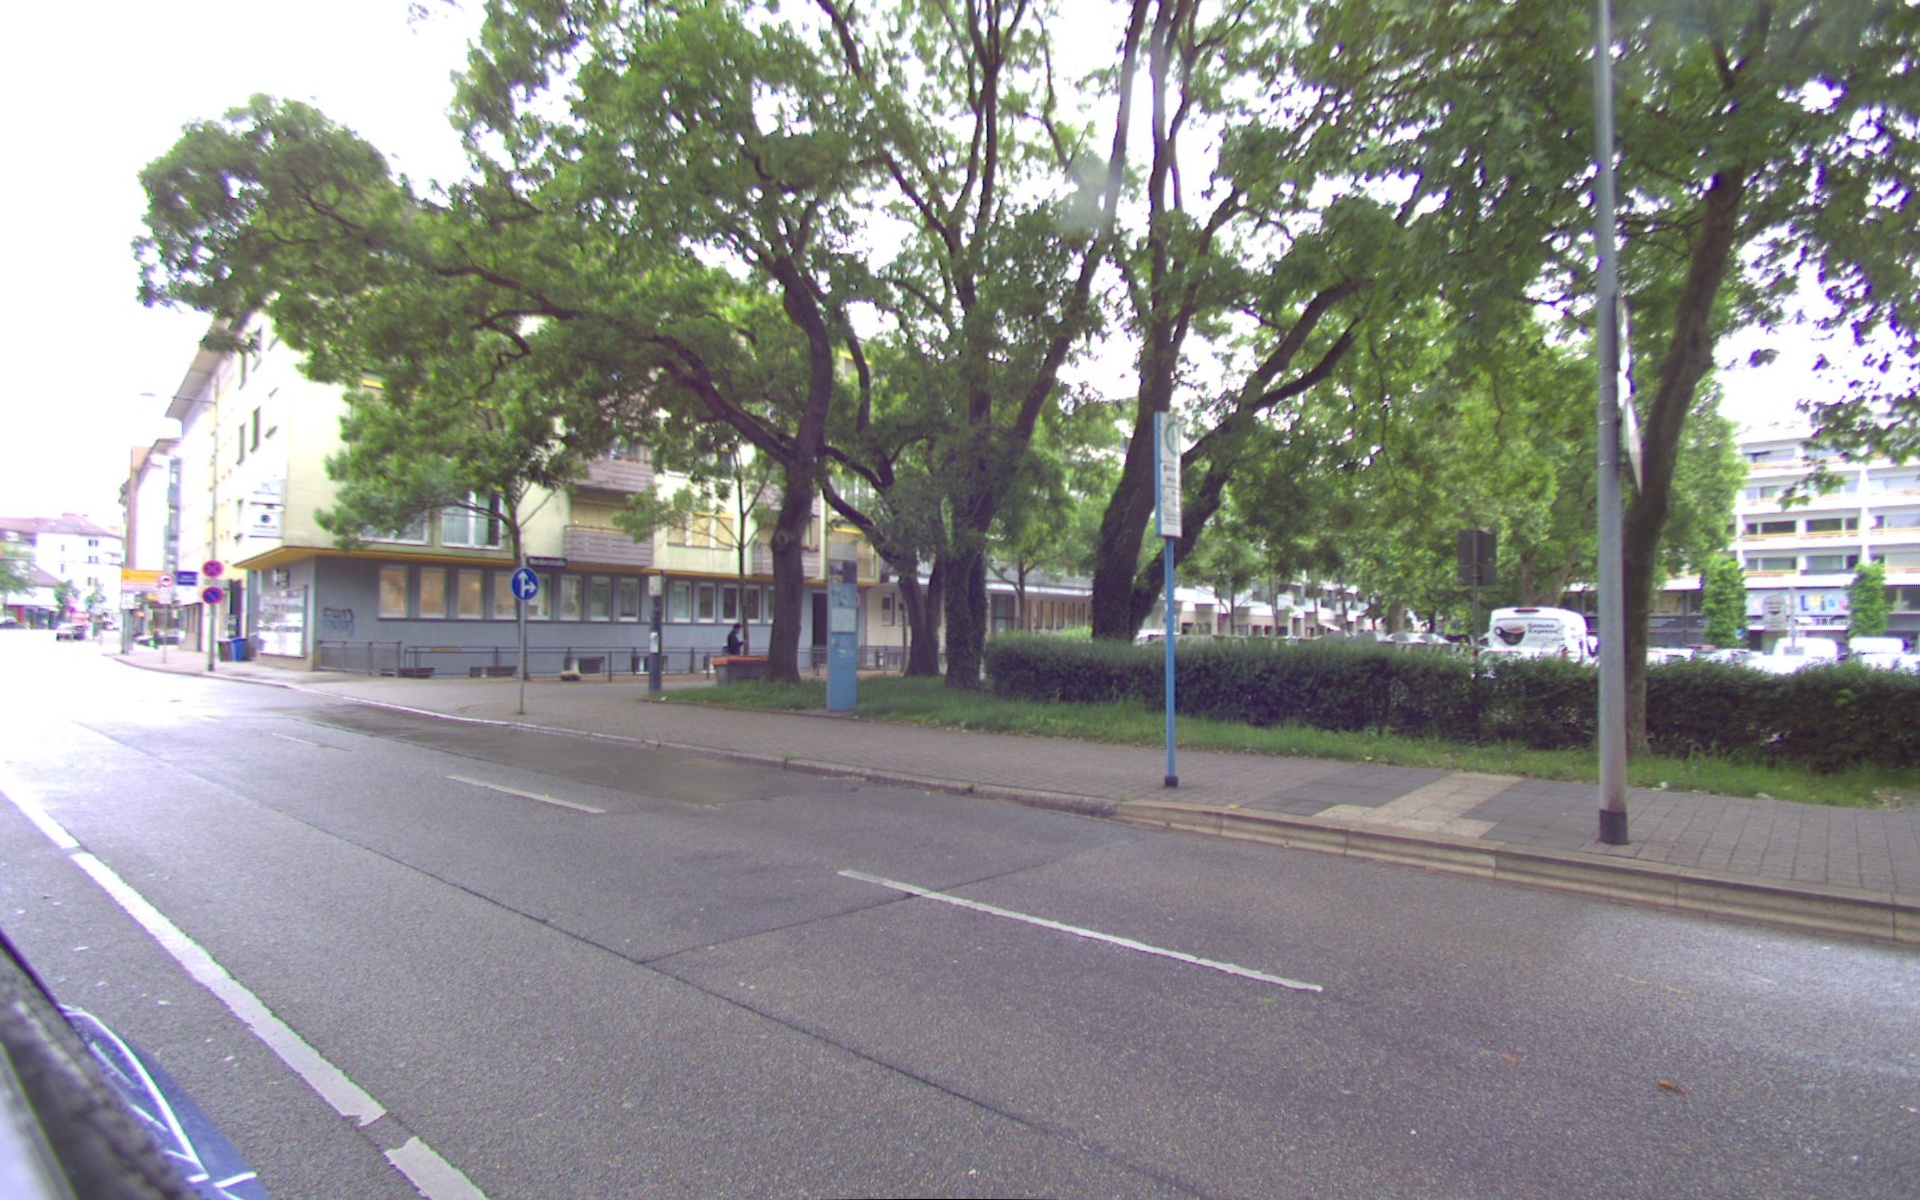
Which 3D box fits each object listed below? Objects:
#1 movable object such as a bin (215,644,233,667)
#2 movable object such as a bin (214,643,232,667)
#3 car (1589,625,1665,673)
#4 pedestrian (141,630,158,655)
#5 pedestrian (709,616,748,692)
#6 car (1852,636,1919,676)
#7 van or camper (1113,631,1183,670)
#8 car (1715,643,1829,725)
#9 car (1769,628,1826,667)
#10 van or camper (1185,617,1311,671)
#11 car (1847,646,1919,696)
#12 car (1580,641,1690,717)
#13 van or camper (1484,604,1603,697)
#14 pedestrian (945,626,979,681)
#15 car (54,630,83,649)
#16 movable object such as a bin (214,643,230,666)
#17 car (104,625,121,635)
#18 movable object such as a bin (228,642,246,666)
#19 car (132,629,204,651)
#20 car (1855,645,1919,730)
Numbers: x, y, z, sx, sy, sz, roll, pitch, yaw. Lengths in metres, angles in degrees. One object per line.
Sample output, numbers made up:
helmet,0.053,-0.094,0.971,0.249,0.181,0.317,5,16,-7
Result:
movable object such as a bin,-30.559,2.301,42.030,0.522,0.902,0.435,-3,1,-42
movable object such as a bin,-30.859,2.295,42.382,0.521,0.935,0.426,-3,1,-42
car,24.046,1.726,36.438,1.895,1.497,3.948,-1,0,39
pedestrian,-53.686,2.807,67.067,0.773,1.600,0.675,-1,-1,-29
pedestrian,-6.266,1.445,27.423,0.773,2.029,0.750,0,-2,9
car,40.318,2.386,44.154,1.895,1.497,3.948,-1,0,39
van or camper,10.382,2.779,55.602,1.825,2.029,4.576,1,-2,38
car,18.599,1.842,23.214,1.895,1.497,3.948,-1,0,39
car,41.887,2.348,50.676,2.097,1.735,3.948,-1,0,39
van or camper,14.166,2.141,49.264,2.561,2.420,8.535,-2,-3,41
car,33.350,2.522,36.458,1.895,1.497,3.948,-1,0,39
car,16.720,1.873,24.999,1.895,1.497,3.948,-1,0,39
van or camper,16.890,1.427,29.208,2.099,2.450,4.280,-2,-3,42
pedestrian,0.062,1.923,36.317,0.906,1.939,0.820,2,-3,-43
car,-82.128,3.636,93.315,1.807,1.634,4.007,2,-3,-39
movable object such as a bin,-31.166,2.302,42.750,0.458,0.935,0.429,-3,1,-42
car,-127.054,4.546,151.748,1.567,1.539,3.496,2,-3,-36
movable object such as a bin,-29.890,2.231,41.822,0.522,0.968,0.435,-3,1,-42
car,-61.704,3.108,78.901,1.480,1.618,4.142,-2,-4,41
car,20.496,1.811,21.606,1.895,1.497,3.948,-1,0,39
